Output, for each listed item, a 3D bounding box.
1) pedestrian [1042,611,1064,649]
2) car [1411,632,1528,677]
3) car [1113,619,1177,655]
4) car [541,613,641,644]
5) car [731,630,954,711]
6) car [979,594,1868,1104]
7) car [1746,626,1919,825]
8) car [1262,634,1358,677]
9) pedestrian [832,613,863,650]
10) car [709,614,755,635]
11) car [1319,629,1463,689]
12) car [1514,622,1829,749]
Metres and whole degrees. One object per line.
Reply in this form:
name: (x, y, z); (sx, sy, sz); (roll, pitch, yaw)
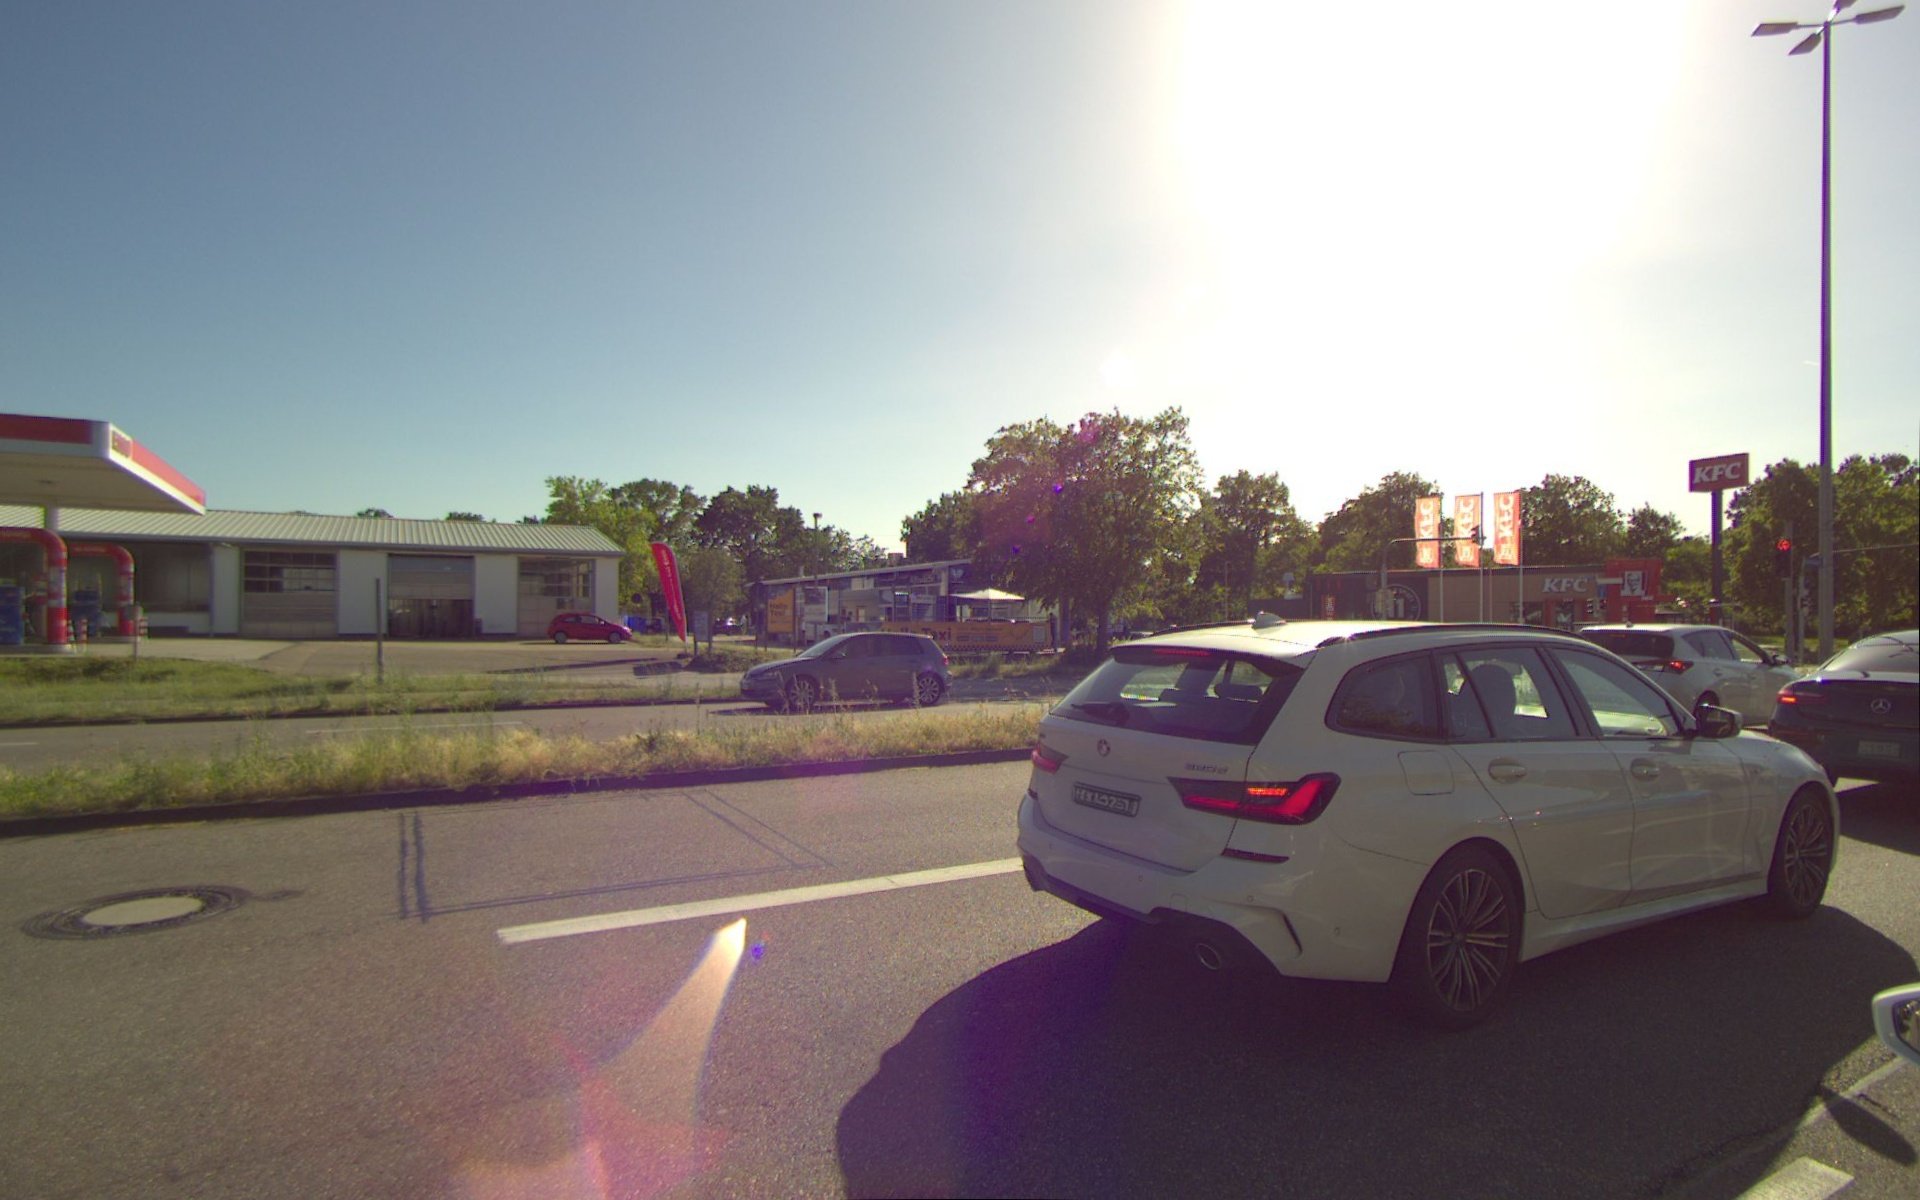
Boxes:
pedestrian: (4.480, 1.446, 48.276); (0.804, 1.828, 0.951); (1, -1, -13)
car: (19.762, 2.070, 39.202); (1.828, 1.564, 4.732); (1, -1, -6)
car: (11.000, 2.168, 60.051); (1.970, 2.040, 3.980); (1, -1, -21)
car: (-18.160, 1.417, 49.483); (4.486, 1.458, 1.741); (1, -1, -26)
car: (-2.287, 1.338, 19.761); (4.000, 1.448, 1.812); (1, -3, -28)
car: (2.422, 0.791, 4.903); (4.409, 1.529, 1.760); (1, -1, -30)
car: (8.801, 0.959, 8.624); (4.409, 1.433, 1.760); (1, -1, -30)
car: (16.783, 2.617, 48.406); (1.973, 1.869, 4.262); (1, -1, -26)
pedestrian: (-5.641, 1.577, 50.457); (1.136, 1.787, 1.100); (0, -1, 19)
car: (-20.017, 2.139, 88.293); (2.085, 1.840, 4.000); (0, -1, 20)
car: (11.739, 1.519, 27.198); (4.701, 1.448, 1.840); (1, -1, -42)
car: (9.618, 1.039, 13.509); (4.352, 1.448, 1.848); (1, -1, -30)
